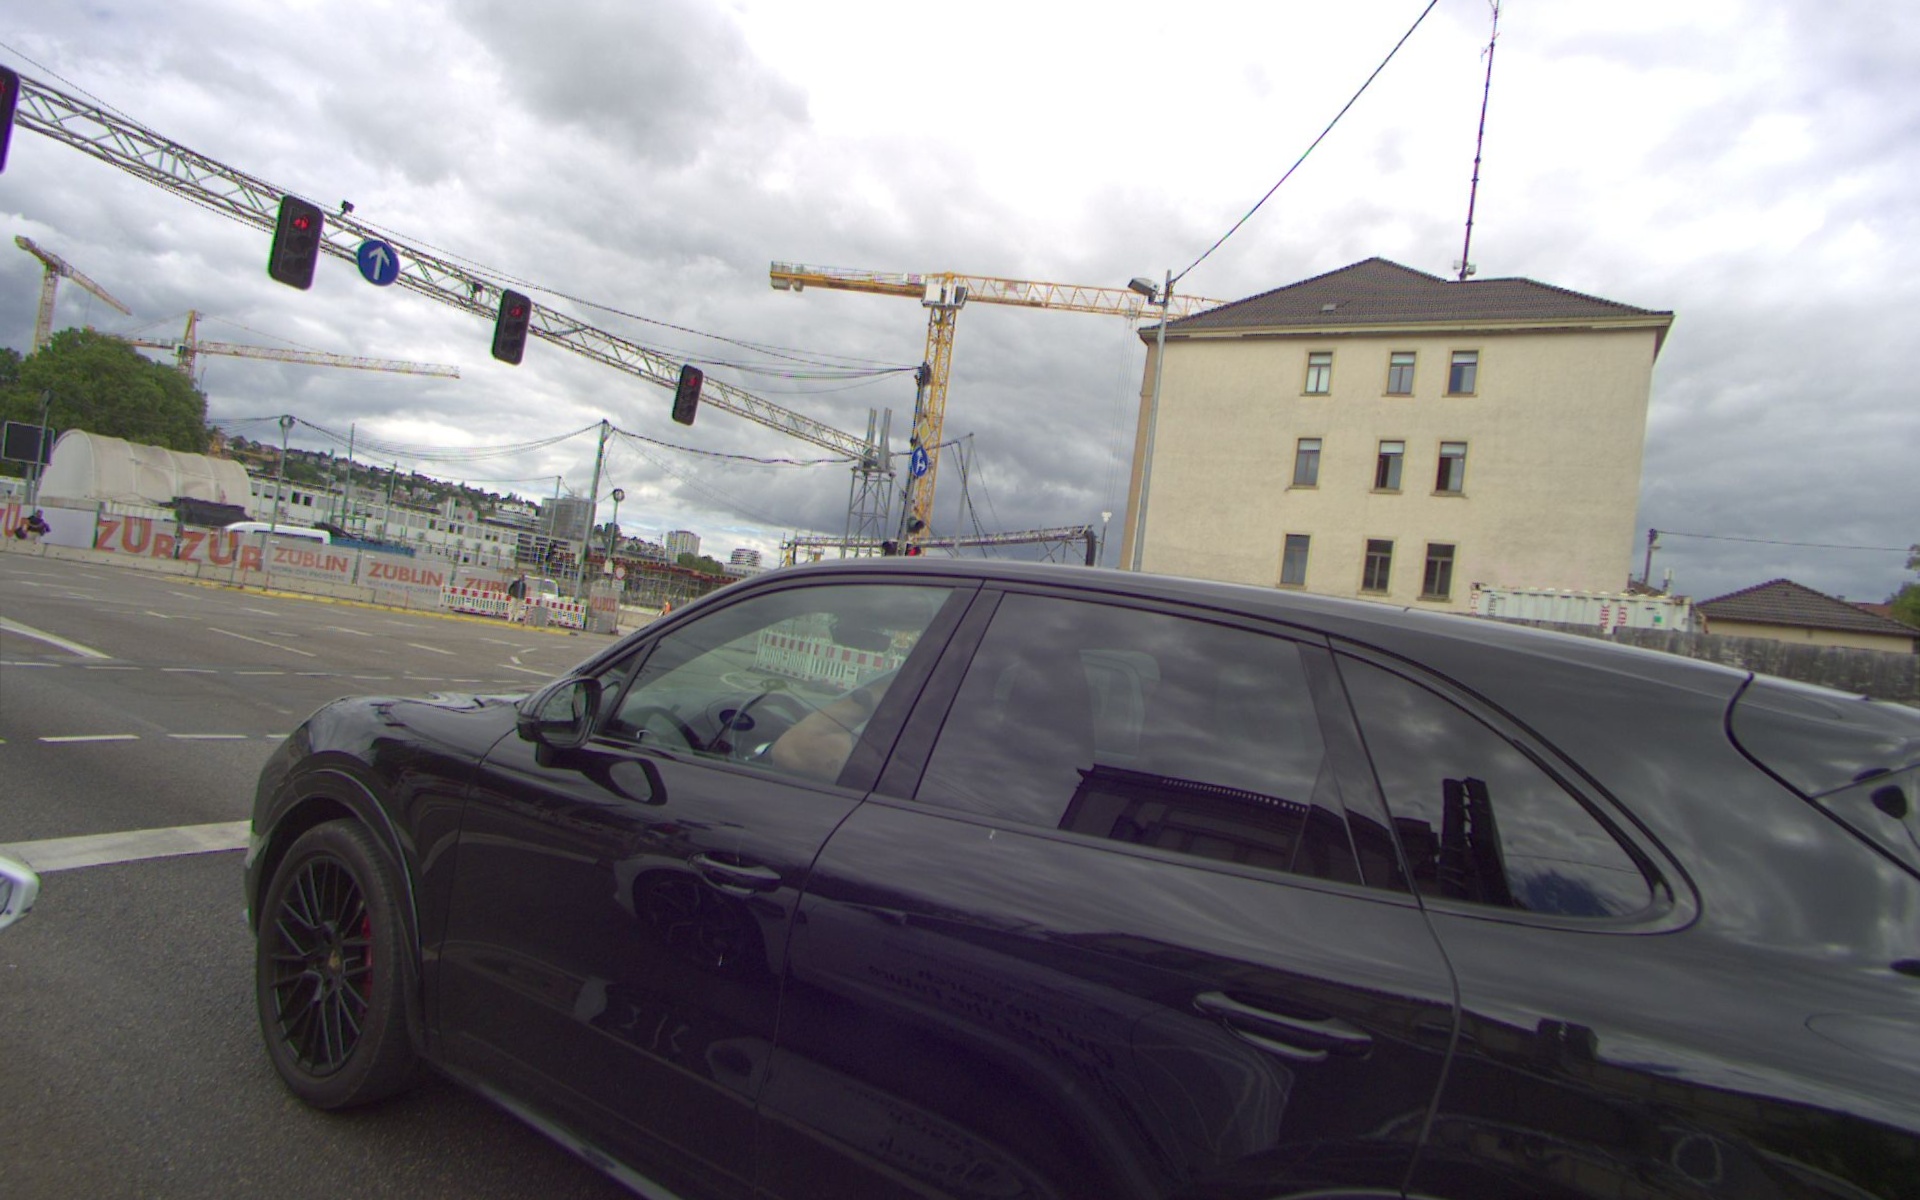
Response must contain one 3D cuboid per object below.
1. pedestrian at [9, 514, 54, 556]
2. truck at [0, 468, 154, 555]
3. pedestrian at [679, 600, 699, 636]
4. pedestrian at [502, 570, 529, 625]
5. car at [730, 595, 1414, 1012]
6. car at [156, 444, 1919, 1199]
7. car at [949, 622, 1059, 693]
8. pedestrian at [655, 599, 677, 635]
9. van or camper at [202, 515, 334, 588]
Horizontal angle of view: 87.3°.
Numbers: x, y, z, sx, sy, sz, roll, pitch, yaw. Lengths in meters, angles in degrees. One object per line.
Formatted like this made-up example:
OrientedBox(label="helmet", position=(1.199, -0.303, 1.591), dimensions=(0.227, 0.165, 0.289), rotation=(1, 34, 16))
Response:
OrientedBox(label="pedestrian", position=(-35.657, -2.483, 38.638), dimensions=(0.888, 1.393, 0.800), rotation=(8, -1, 15))
OrientedBox(label="truck", position=(-57.909, -5.771, 61.923), dimensions=(3.875, 4.086, 13.089), rotation=(8, -2, 12))
OrientedBox(label="pedestrian", position=(-13.776, 0.937, 51.152), dimensions=(0.508, 1.737, 0.654), rotation=(7, -1, 21))
OrientedBox(label="pedestrian", position=(-17.235, -0.111, 38.989), dimensions=(0.647, 2.037, 0.513), rotation=(8, -1, -33))
OrientedBox(label="car", position=(0.602, 1.026, 6.380), dimensions=(3.818, 1.561, 1.667), rotation=(7, -2, 33))
OrientedBox(label="car", position=(0.047, 0.696, 2.704), dimensions=(4.559, 1.705, 1.959), rotation=(7, -2, 33))
OrientedBox(label="car", position=(2.122, 2.693, 45.808), dimensions=(2.030, 2.623, 6.006), rotation=(7, -3, 33))
OrientedBox(label="pedestrian", position=(-15.557, 0.896, 53.291), dimensions=(0.607, 1.816, 0.654), rotation=(7, -1, 23))
OrientedBox(label="van or camper", position=(-29.814, -2.065, 43.412), dimensions=(4.204, 2.384, 1.976), rotation=(10, -3, -44))
